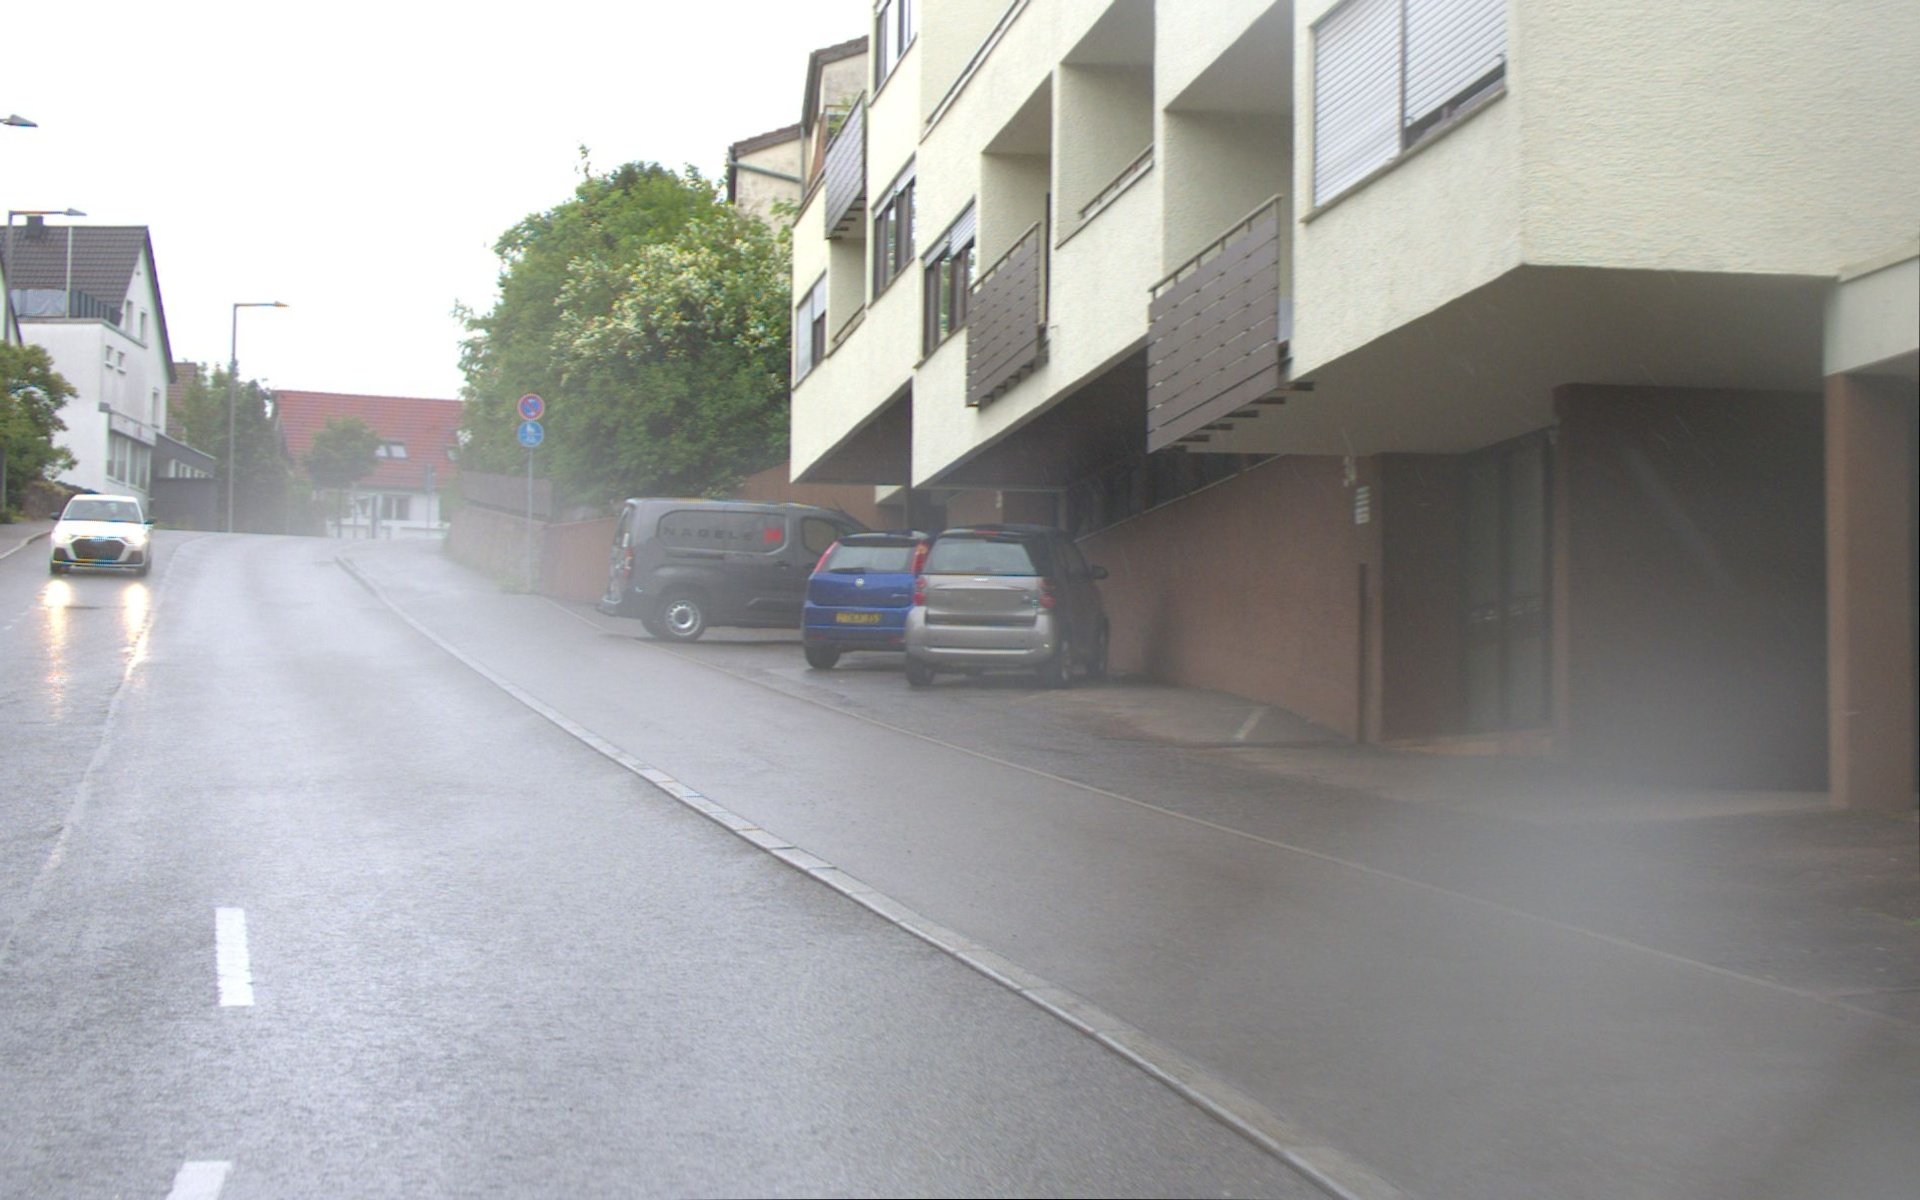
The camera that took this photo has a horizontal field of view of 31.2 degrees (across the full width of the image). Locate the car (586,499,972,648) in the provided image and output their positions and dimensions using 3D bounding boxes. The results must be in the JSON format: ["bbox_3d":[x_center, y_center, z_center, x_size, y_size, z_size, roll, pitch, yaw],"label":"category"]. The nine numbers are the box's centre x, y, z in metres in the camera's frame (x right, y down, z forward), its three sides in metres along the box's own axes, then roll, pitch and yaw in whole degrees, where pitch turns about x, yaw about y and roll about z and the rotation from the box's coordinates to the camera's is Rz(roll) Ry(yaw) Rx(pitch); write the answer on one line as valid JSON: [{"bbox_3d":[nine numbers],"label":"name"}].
[{"bbox_3d":[-2.379,-0.355,44.561,4.706,1.814,2.001,1,2,-12],"label":"car"}]

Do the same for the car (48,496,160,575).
[{"bbox_3d":[-15.791,-1.201,63.566,1.702,1.383,4.052,-1,2,-10],"label":"car"}]

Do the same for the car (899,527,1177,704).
[{"bbox_3d":[0.857,0.119,34.545,1.783,1.573,4.064,3,1,15],"label":"car"}]

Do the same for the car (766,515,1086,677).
[{"bbox_3d":[-0.304,-0.050,37.353,1.784,1.573,4.061,4,2,26],"label":"car"}]
